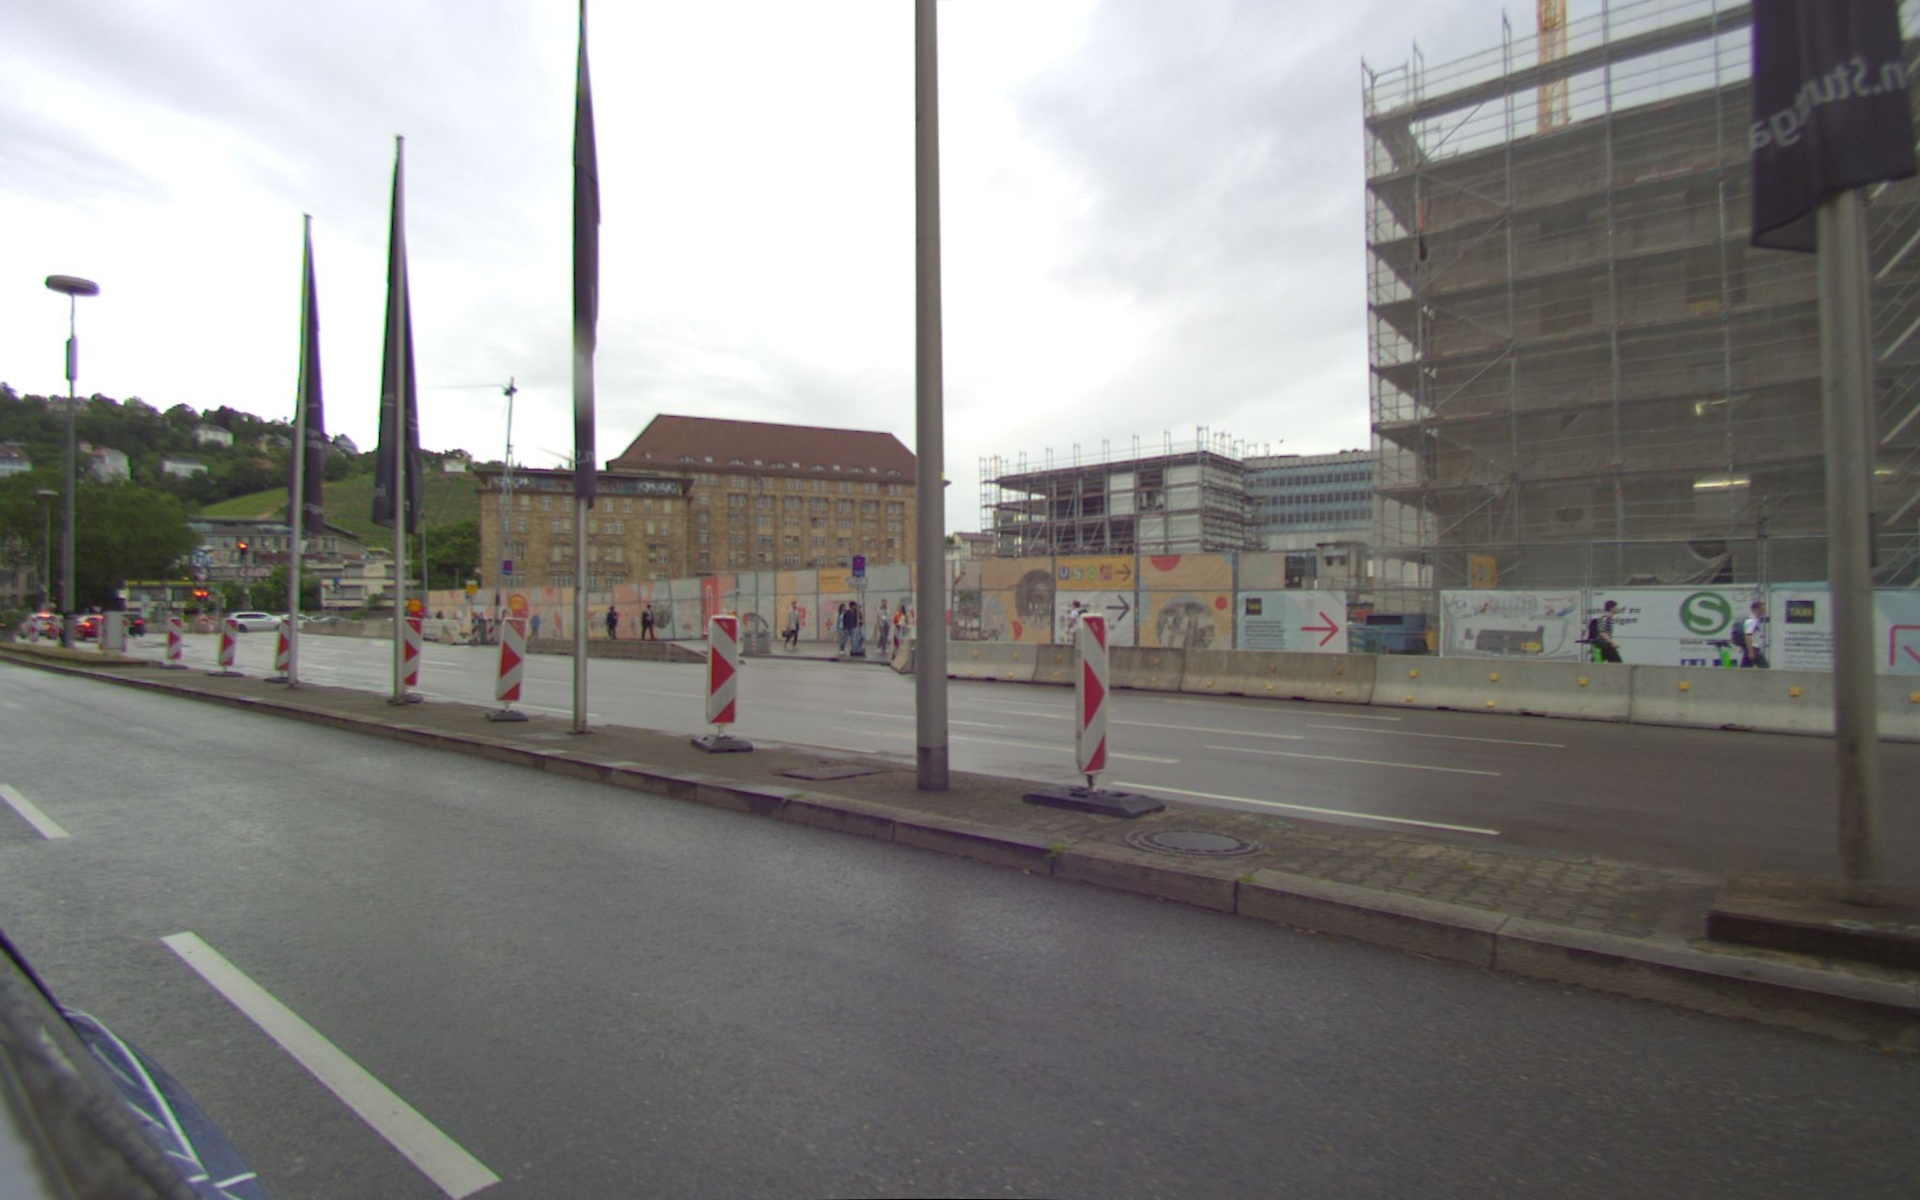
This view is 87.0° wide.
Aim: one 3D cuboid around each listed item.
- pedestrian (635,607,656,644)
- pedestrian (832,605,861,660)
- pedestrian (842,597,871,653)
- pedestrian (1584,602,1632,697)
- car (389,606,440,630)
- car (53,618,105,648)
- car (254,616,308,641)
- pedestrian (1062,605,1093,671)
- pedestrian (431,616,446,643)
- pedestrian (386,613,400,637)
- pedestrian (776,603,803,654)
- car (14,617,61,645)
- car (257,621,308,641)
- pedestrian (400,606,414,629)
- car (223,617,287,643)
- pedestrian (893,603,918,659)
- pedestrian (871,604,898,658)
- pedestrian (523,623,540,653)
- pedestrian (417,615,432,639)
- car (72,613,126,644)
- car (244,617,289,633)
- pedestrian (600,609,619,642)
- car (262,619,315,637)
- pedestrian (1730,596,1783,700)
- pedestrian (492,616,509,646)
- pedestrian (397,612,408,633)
[{"bbox_3d":[-13.895,1.115,44.741,0.544,1.628,0.706,-1,0,41],"label":"pedestrian"},{"bbox_3d":[-3.684,1.045,32.883,0.704,1.746,0.719,-1,0,-31],"label":"pedestrian"},{"bbox_3d":[-3.481,0.824,33.939,0.704,1.850,0.719,-1,0,-31],"label":"pedestrian"},{"bbox_3d":[12.905,0.967,20.164,0.717,1.850,0.579,-1,0,41],"label":"pedestrian"},{"bbox_3d":[-49.686,1.621,92.135,3.932,2.029,2.006,-1,0,-33],"label":"car"},{"bbox_3d":[-53.758,1.977,61.748,3.913,1.707,1.763,0,0,39],"label":"car"},{"bbox_3d":[-60.802,2.516,90.644,3.932,2.029,2.006,-1,0,-33],"label":"car"},{"bbox_3d":[3.374,1.071,29.002,0.717,1.850,0.475,-1,0,41],"label":"pedestrian"},{"bbox_3d":[-32.957,1.864,63.969,0.544,1.628,0.706,-1,0,41],"label":"pedestrian"},{"bbox_3d":[-40.303,1.772,71.948,0.705,1.628,0.544,-1,0,-45],"label":"pedestrian"},{"bbox_3d":[-6.267,1.024,37.208,0.720,1.850,0.656,-1,0,41],"label":"pedestrian"},{"bbox_3d":[-60.926,2.035,66.800,3.913,1.707,1.763,0,0,39],"label":"car"},{"bbox_3d":[-70.739,3.222,105.688,4.137,1.871,1.833,-1,0,-44],"label":"car"},{"bbox_3d":[-39.706,1.230,72.644,0.705,1.628,0.544,-1,0,-45],"label":"pedestrian"},{"bbox_3d":[-59.929,2.527,86.123,4.328,2.029,2.006,-1,0,-33],"label":"car"},{"bbox_3d":[-1.851,1.047,34.198,0.651,1.850,0.557,-1,0,-29],"label":"pedestrian"},{"bbox_3d":[-2.525,1.027,33.822,0.704,1.757,0.565,-1,0,-29],"label":"pedestrian"},{"bbox_3d":[-23.503,2.085,55.489,0.544,1.628,0.706,-1,0,41],"label":"pedestrian"},{"bbox_3d":[-35.810,1.802,67.706,0.544,1.628,0.706,-1,0,41],"label":"pedestrian"},{"bbox_3d":[-49.737,1.641,58.432,3.914,1.707,1.762,-1,-1,41],"label":"car"},{"bbox_3d":[-73.602,2.636,107.441,3.934,1.644,2.005,0,-1,-36],"label":"car"},{"bbox_3d":[-17.471,1.245,50.445,0.544,1.628,0.706,-1,0,41],"label":"pedestrian"},{"bbox_3d":[-61.549,2.561,92.792,3.934,1.644,2.005,0,-1,-36],"label":"car"},{"bbox_3d":[14.514,0.855,18.440,0.717,1.850,0.475,-1,0,41],"label":"pedestrian"},{"bbox_3d":[-25.511,1.702,56.217,0.544,1.628,0.706,-1,0,41],"label":"pedestrian"},{"bbox_3d":[-45.686,1.842,82.918,0.704,1.628,0.546,-1,0,-27],"label":"pedestrian"}]
